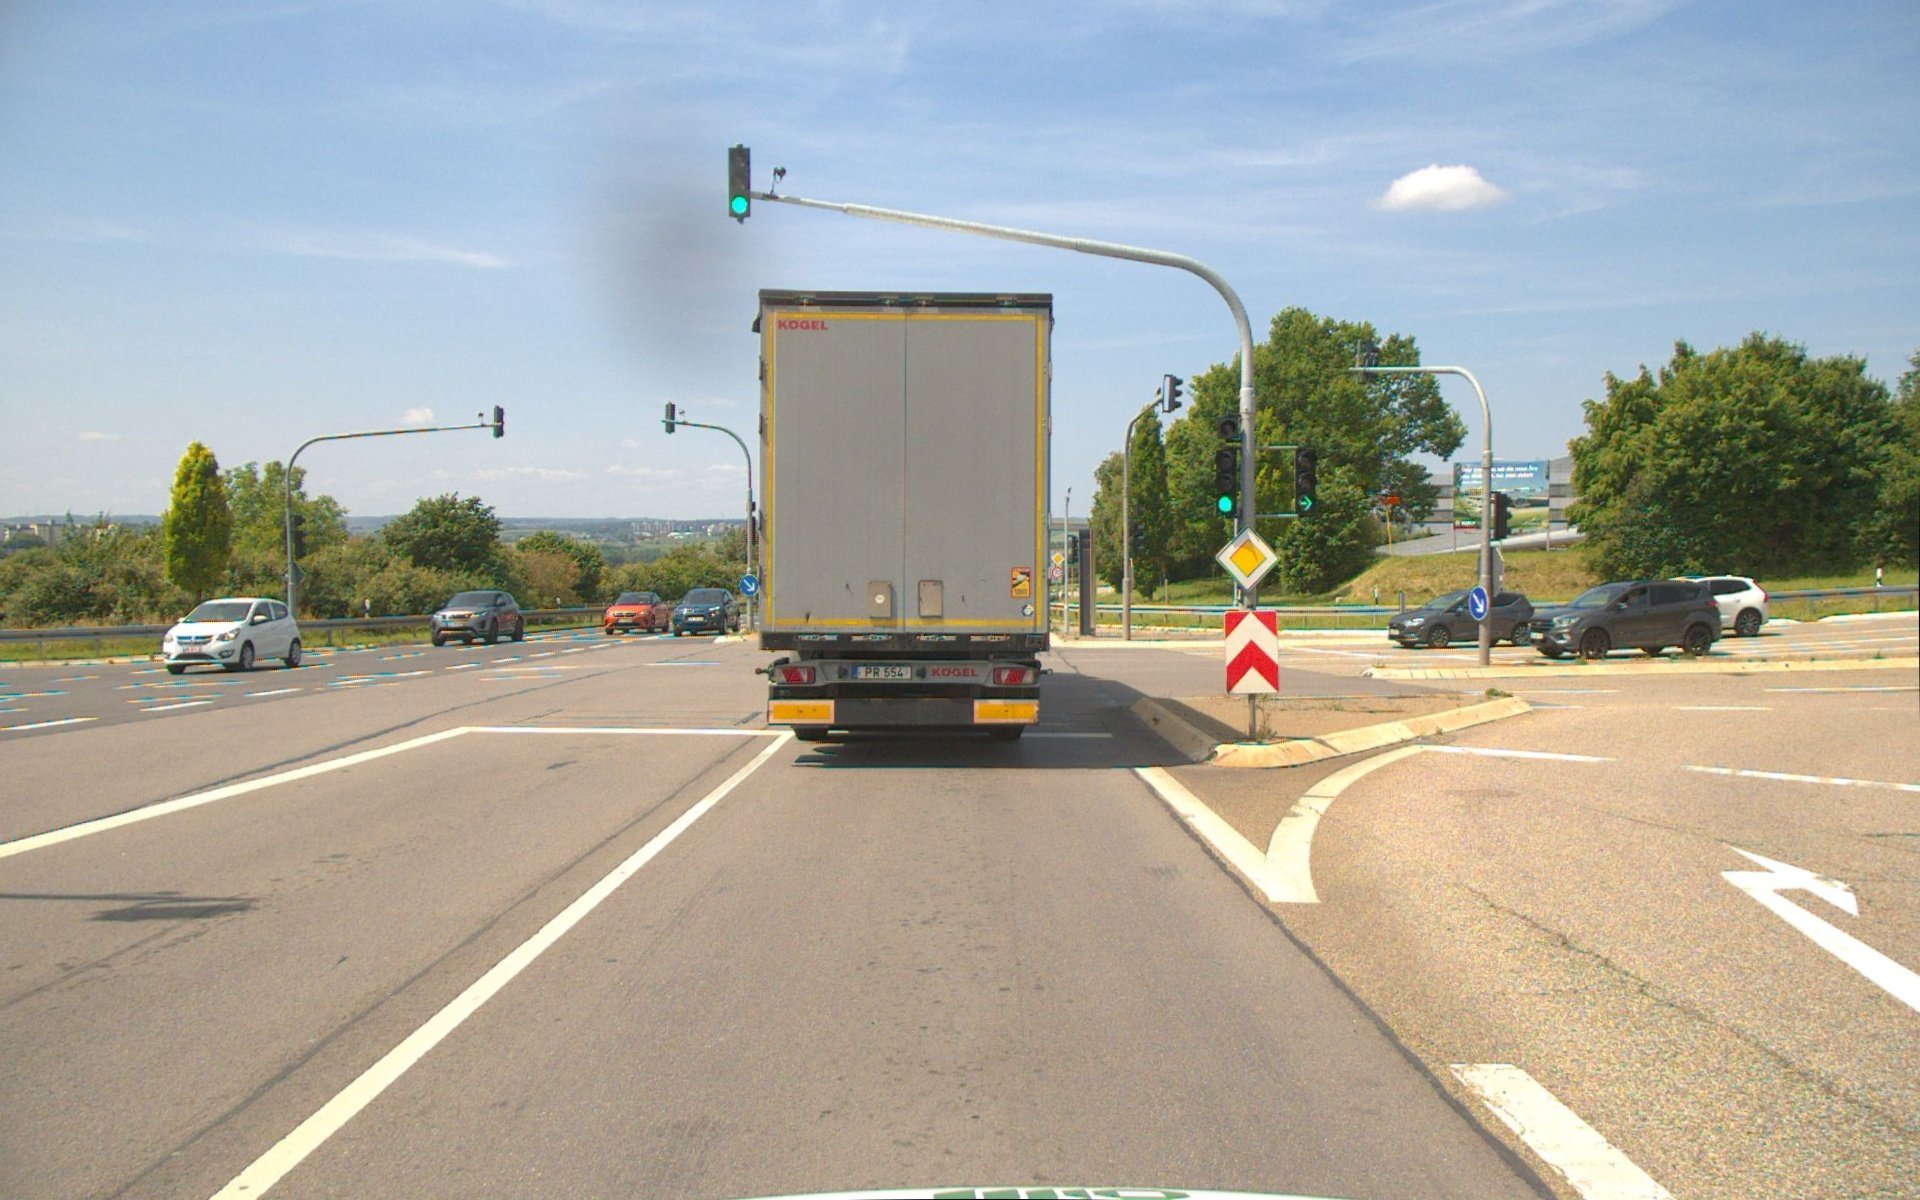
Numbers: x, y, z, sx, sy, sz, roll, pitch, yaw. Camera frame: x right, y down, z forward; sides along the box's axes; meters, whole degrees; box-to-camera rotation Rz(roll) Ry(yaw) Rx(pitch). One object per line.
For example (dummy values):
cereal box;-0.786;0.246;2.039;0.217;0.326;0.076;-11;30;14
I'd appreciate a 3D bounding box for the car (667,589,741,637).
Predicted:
car;-8.356;0.388;54.249;1.719;1.494;4.196;-1;0;1

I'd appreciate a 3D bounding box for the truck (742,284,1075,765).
truck;-0.733;-0.641;19.535;2.743;3.998;11.334;1;0;-3

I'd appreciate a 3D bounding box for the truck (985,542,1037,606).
truck;3.326;-1.558;106.157;2.599;3.830;10.168;1;0;6

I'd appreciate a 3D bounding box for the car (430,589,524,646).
car;-14.938;0.532;51.352;1.610;1.652;4.328;-2;0;0

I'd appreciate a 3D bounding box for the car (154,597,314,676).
car;-15.195;0.739;34.826;1.610;1.523;3.802;-1;0;1

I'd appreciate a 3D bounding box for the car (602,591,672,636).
car;-11.640;0.449;59.863;1.610;1.523;4.066;-2;0;1

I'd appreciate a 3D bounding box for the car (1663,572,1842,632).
car;21.971;0.048;45.899;4.278;1.620;1.776;0;0;-10

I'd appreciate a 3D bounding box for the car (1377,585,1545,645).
car;13.170;0.384;43.592;3.914;1.537;1.712;0;0;-10

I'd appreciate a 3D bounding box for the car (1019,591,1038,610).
car;6.566;0.060;157.918;1.749;1.717;4.002;1;0;4

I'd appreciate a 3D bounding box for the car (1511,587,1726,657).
car;14.830;0.475;37.334;4.278;1.537;1.712;0;0;-10
